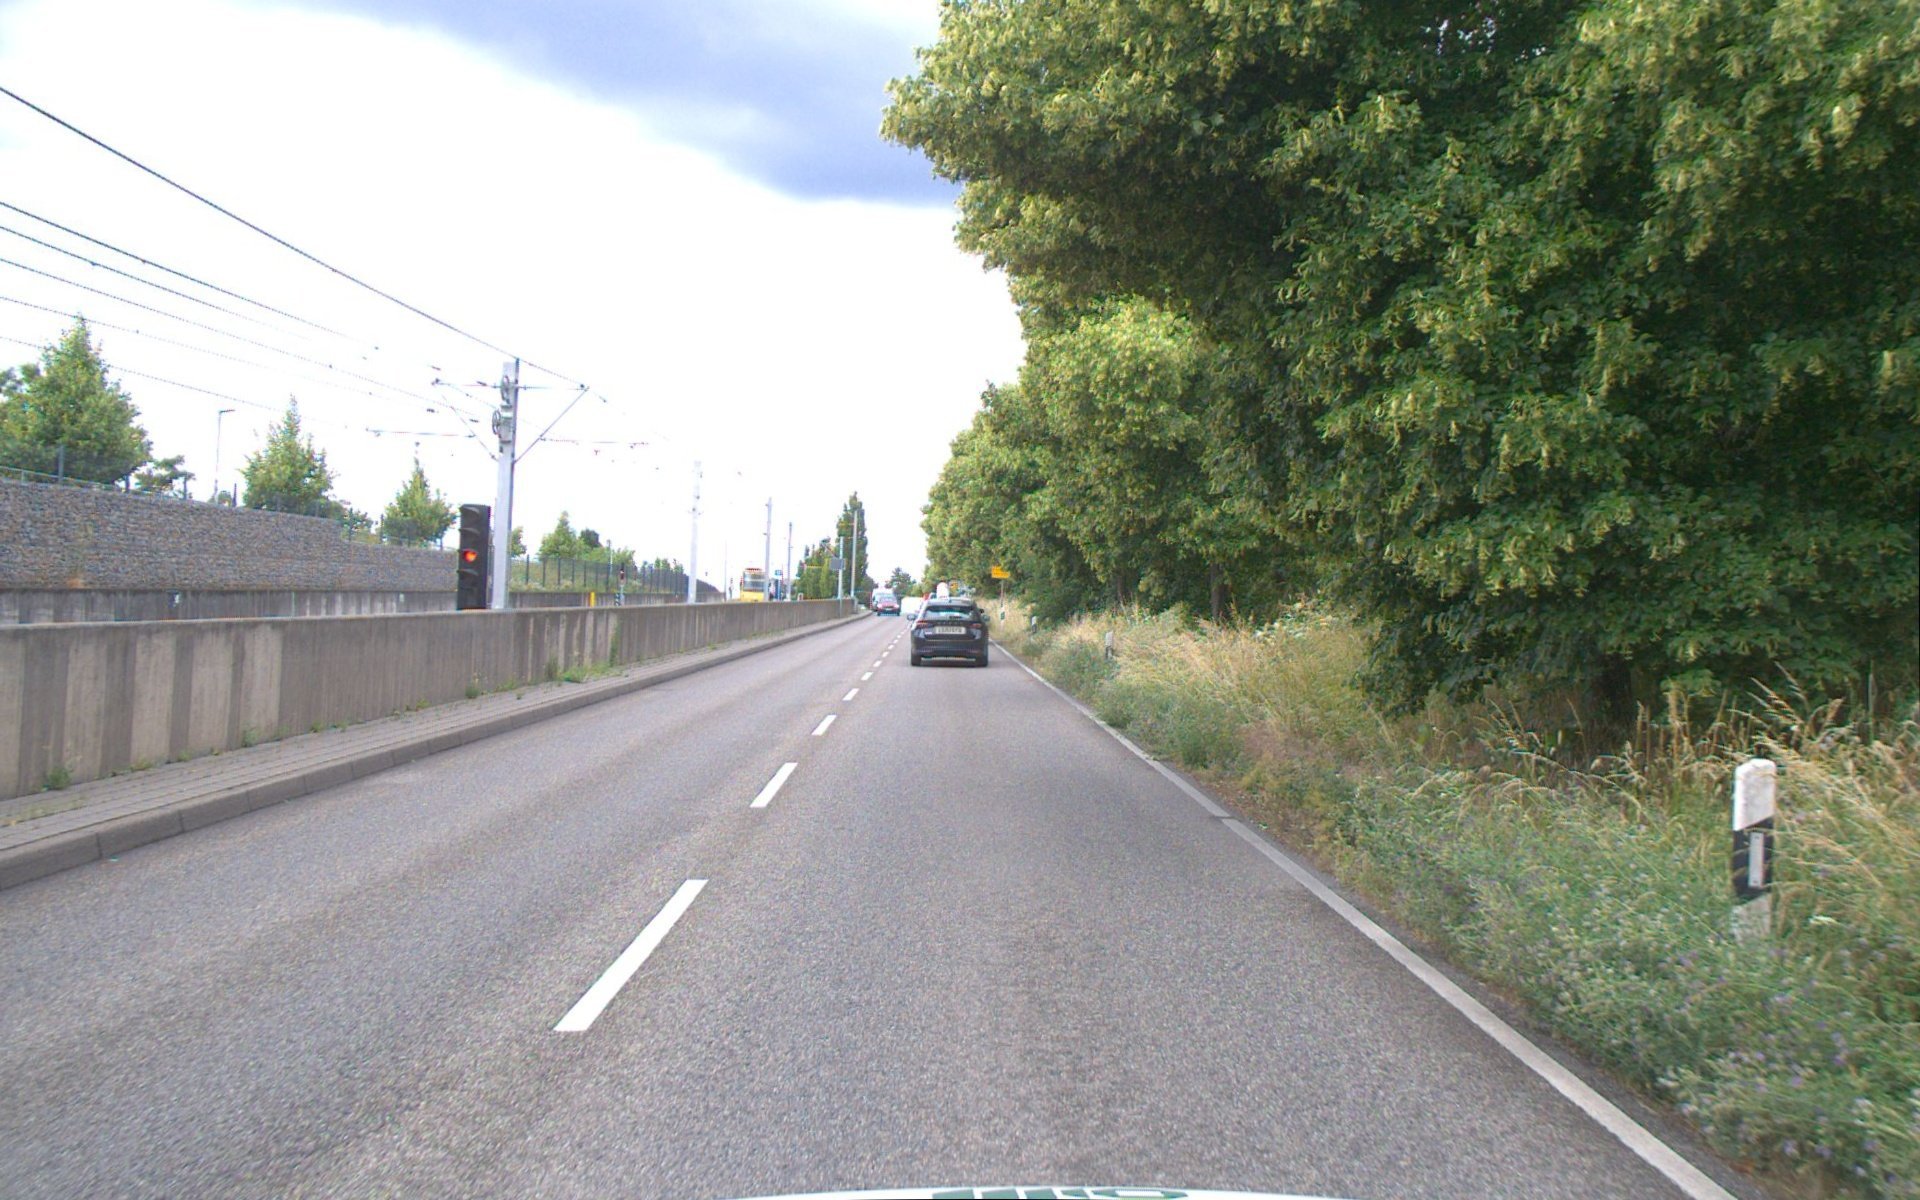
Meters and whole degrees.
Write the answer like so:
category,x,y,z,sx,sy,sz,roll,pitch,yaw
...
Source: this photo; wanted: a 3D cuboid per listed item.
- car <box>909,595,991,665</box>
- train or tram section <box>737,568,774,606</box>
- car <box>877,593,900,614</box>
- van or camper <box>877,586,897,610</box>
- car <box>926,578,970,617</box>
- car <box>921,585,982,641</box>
category,x,y,z,sx,sy,sz,roll,pitch,yaw
car,-0.241,0.643,37.606,1.745,1.493,3.999,0,0,-1
train or tram section,-19.383,-1.112,155.944,2.760,3.172,18.873,1,-1,-9
car,-5.357,0.276,124.114,1.629,1.572,3.951,0,0,-1
van or camper,-7.753,-0.190,176.250,2.040,2.438,6.135,1,0,-1
car,-0.579,-0.090,76.869,1.953,1.771,3.999,1,-1,-1
car,-0.293,0.408,54.870,1.953,1.783,3.999,0,0,-1
